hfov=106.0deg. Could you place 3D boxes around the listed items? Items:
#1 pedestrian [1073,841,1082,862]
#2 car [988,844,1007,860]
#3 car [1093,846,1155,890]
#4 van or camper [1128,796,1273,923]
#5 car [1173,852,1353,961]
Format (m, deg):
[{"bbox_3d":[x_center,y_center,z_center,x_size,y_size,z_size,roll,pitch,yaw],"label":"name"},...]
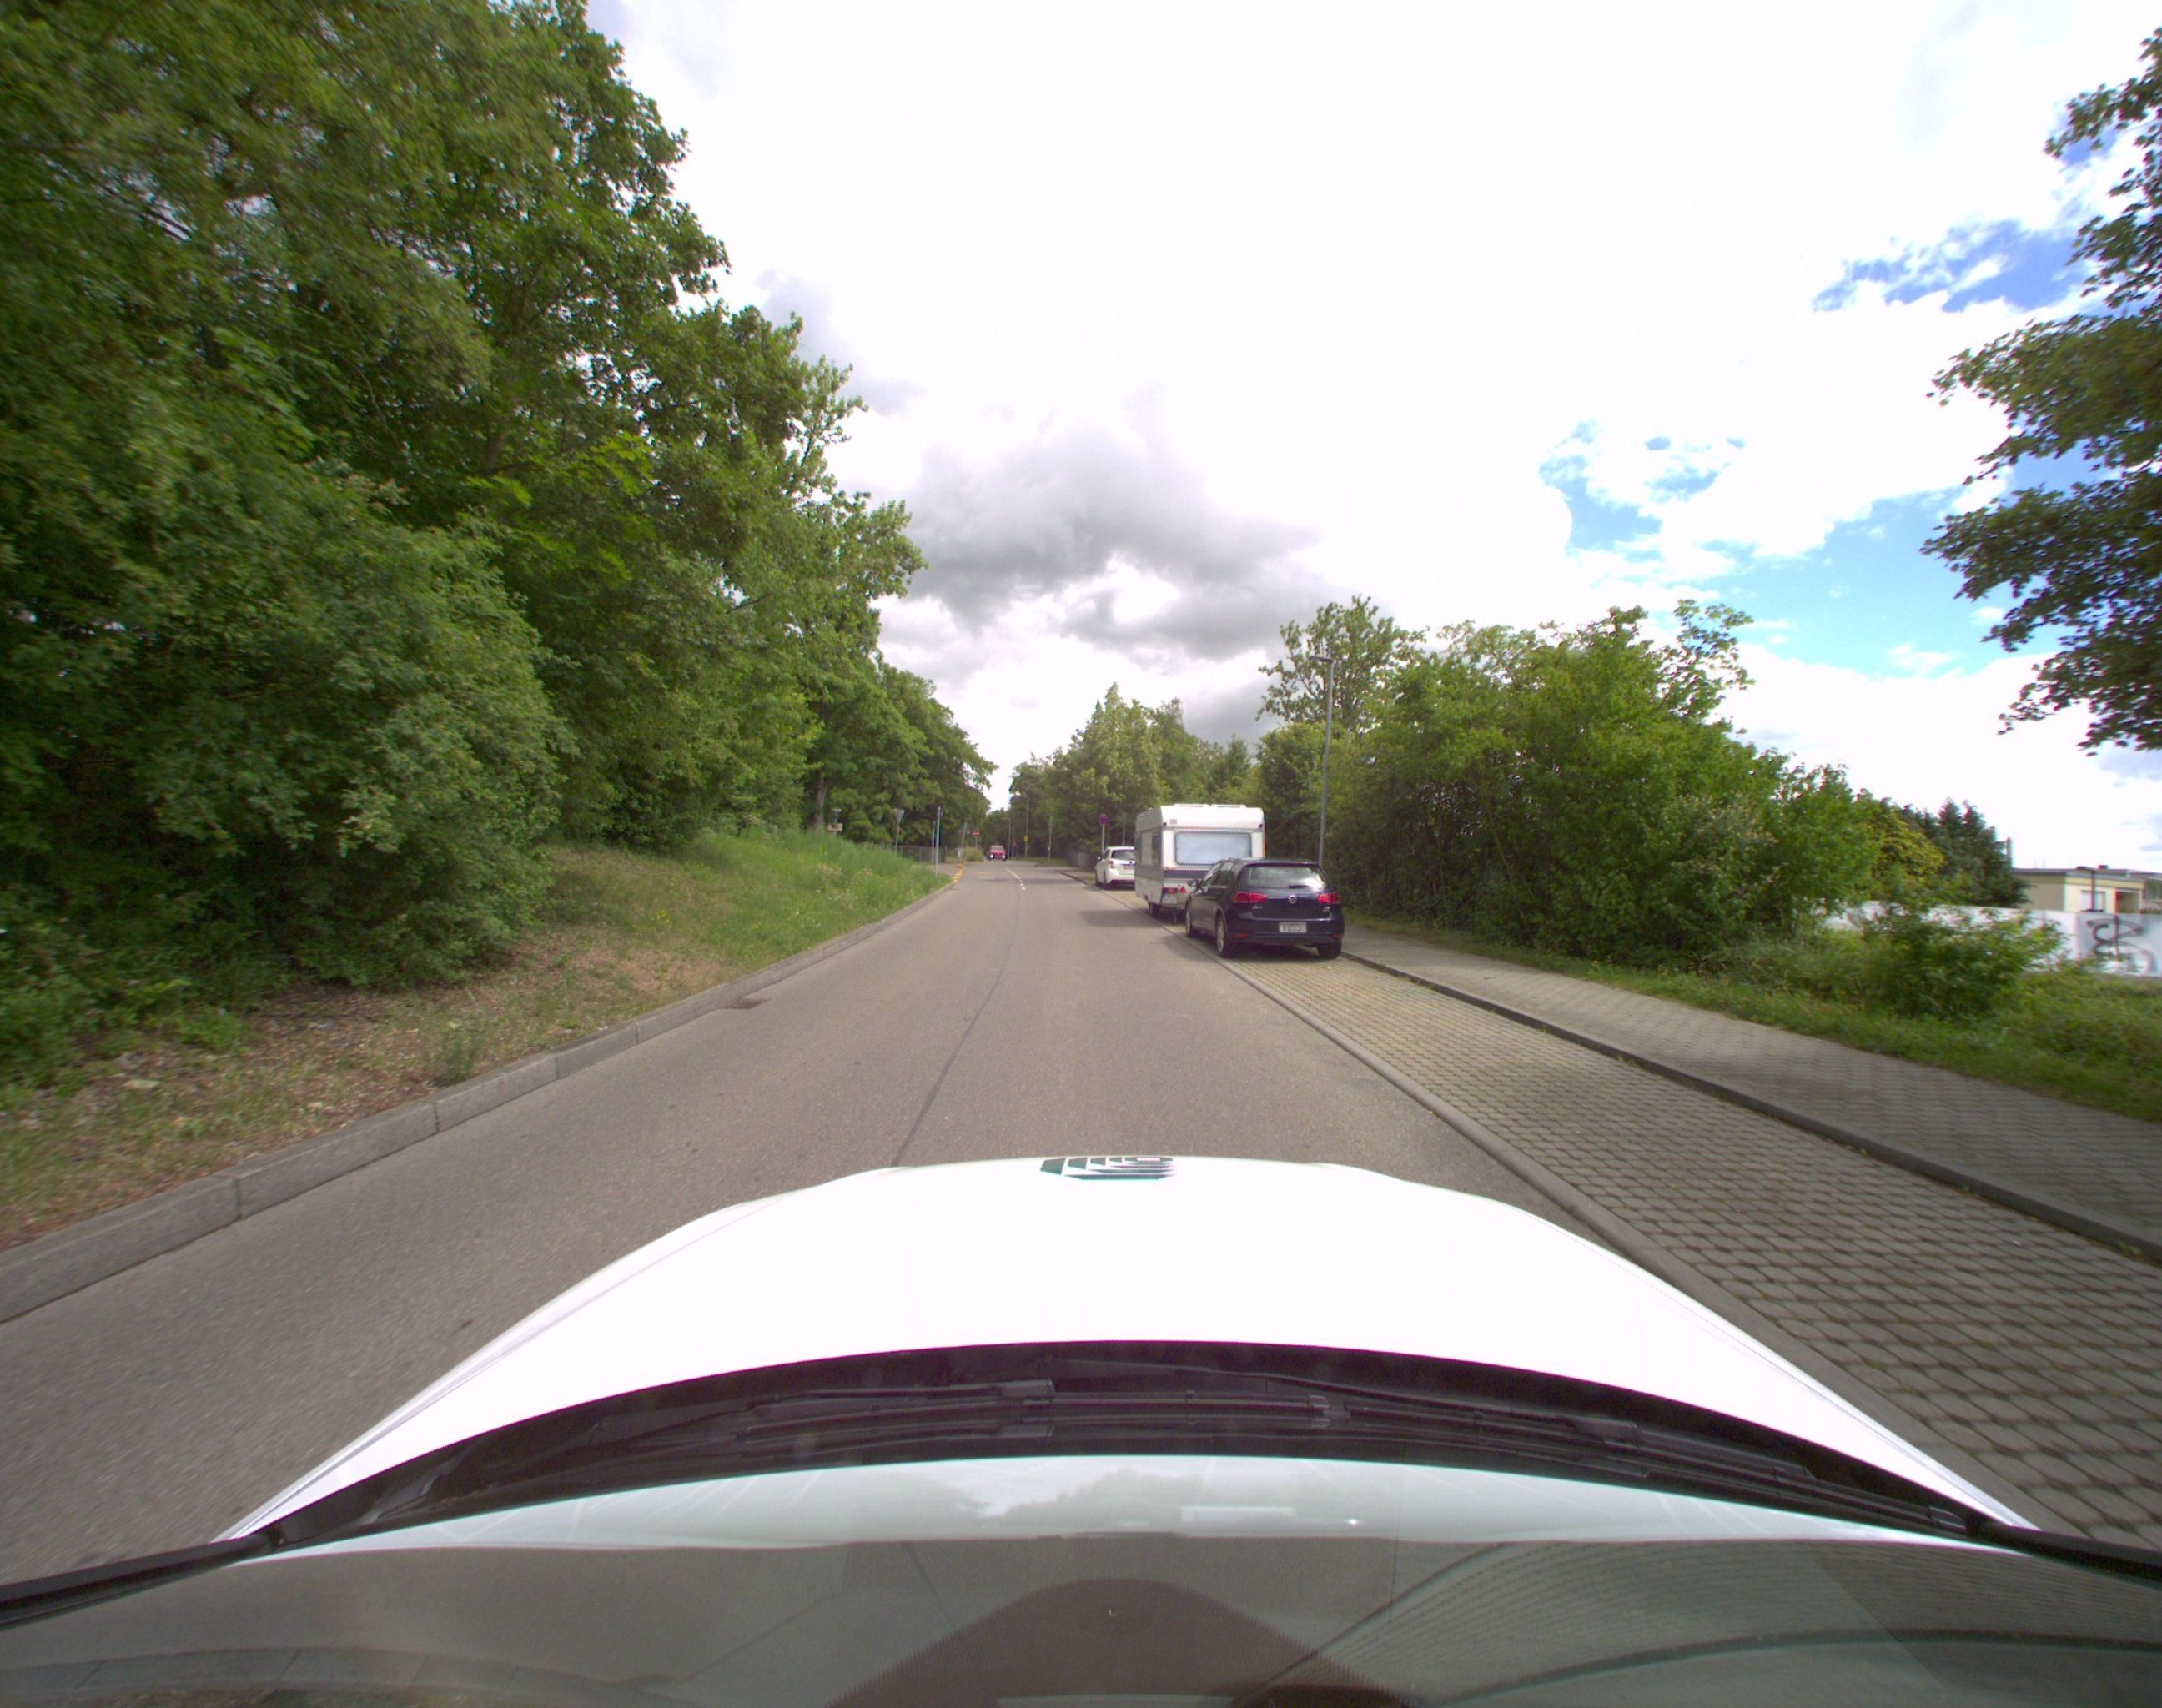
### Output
[{"bbox_3d":[-0.285,-0.206,68.632,0.583,1.783,0.684,1,-2,12],"label":"pedestrian"},{"bbox_3d":[-9.273,-0.286,89.863,1.842,1.658,4.209,1,1,-9],"label":"car"},{"bbox_3d":[1.608,0.504,31.930,1.802,1.600,4.363,0,1,-6],"label":"car"},{"bbox_3d":[2.569,0.111,18.974,2.350,2.554,5.067,0,0,-4],"label":"van or camper"},{"bbox_3d":[2.741,0.719,13.359,1.678,1.451,4.474,1,0,-4],"label":"car"}]
